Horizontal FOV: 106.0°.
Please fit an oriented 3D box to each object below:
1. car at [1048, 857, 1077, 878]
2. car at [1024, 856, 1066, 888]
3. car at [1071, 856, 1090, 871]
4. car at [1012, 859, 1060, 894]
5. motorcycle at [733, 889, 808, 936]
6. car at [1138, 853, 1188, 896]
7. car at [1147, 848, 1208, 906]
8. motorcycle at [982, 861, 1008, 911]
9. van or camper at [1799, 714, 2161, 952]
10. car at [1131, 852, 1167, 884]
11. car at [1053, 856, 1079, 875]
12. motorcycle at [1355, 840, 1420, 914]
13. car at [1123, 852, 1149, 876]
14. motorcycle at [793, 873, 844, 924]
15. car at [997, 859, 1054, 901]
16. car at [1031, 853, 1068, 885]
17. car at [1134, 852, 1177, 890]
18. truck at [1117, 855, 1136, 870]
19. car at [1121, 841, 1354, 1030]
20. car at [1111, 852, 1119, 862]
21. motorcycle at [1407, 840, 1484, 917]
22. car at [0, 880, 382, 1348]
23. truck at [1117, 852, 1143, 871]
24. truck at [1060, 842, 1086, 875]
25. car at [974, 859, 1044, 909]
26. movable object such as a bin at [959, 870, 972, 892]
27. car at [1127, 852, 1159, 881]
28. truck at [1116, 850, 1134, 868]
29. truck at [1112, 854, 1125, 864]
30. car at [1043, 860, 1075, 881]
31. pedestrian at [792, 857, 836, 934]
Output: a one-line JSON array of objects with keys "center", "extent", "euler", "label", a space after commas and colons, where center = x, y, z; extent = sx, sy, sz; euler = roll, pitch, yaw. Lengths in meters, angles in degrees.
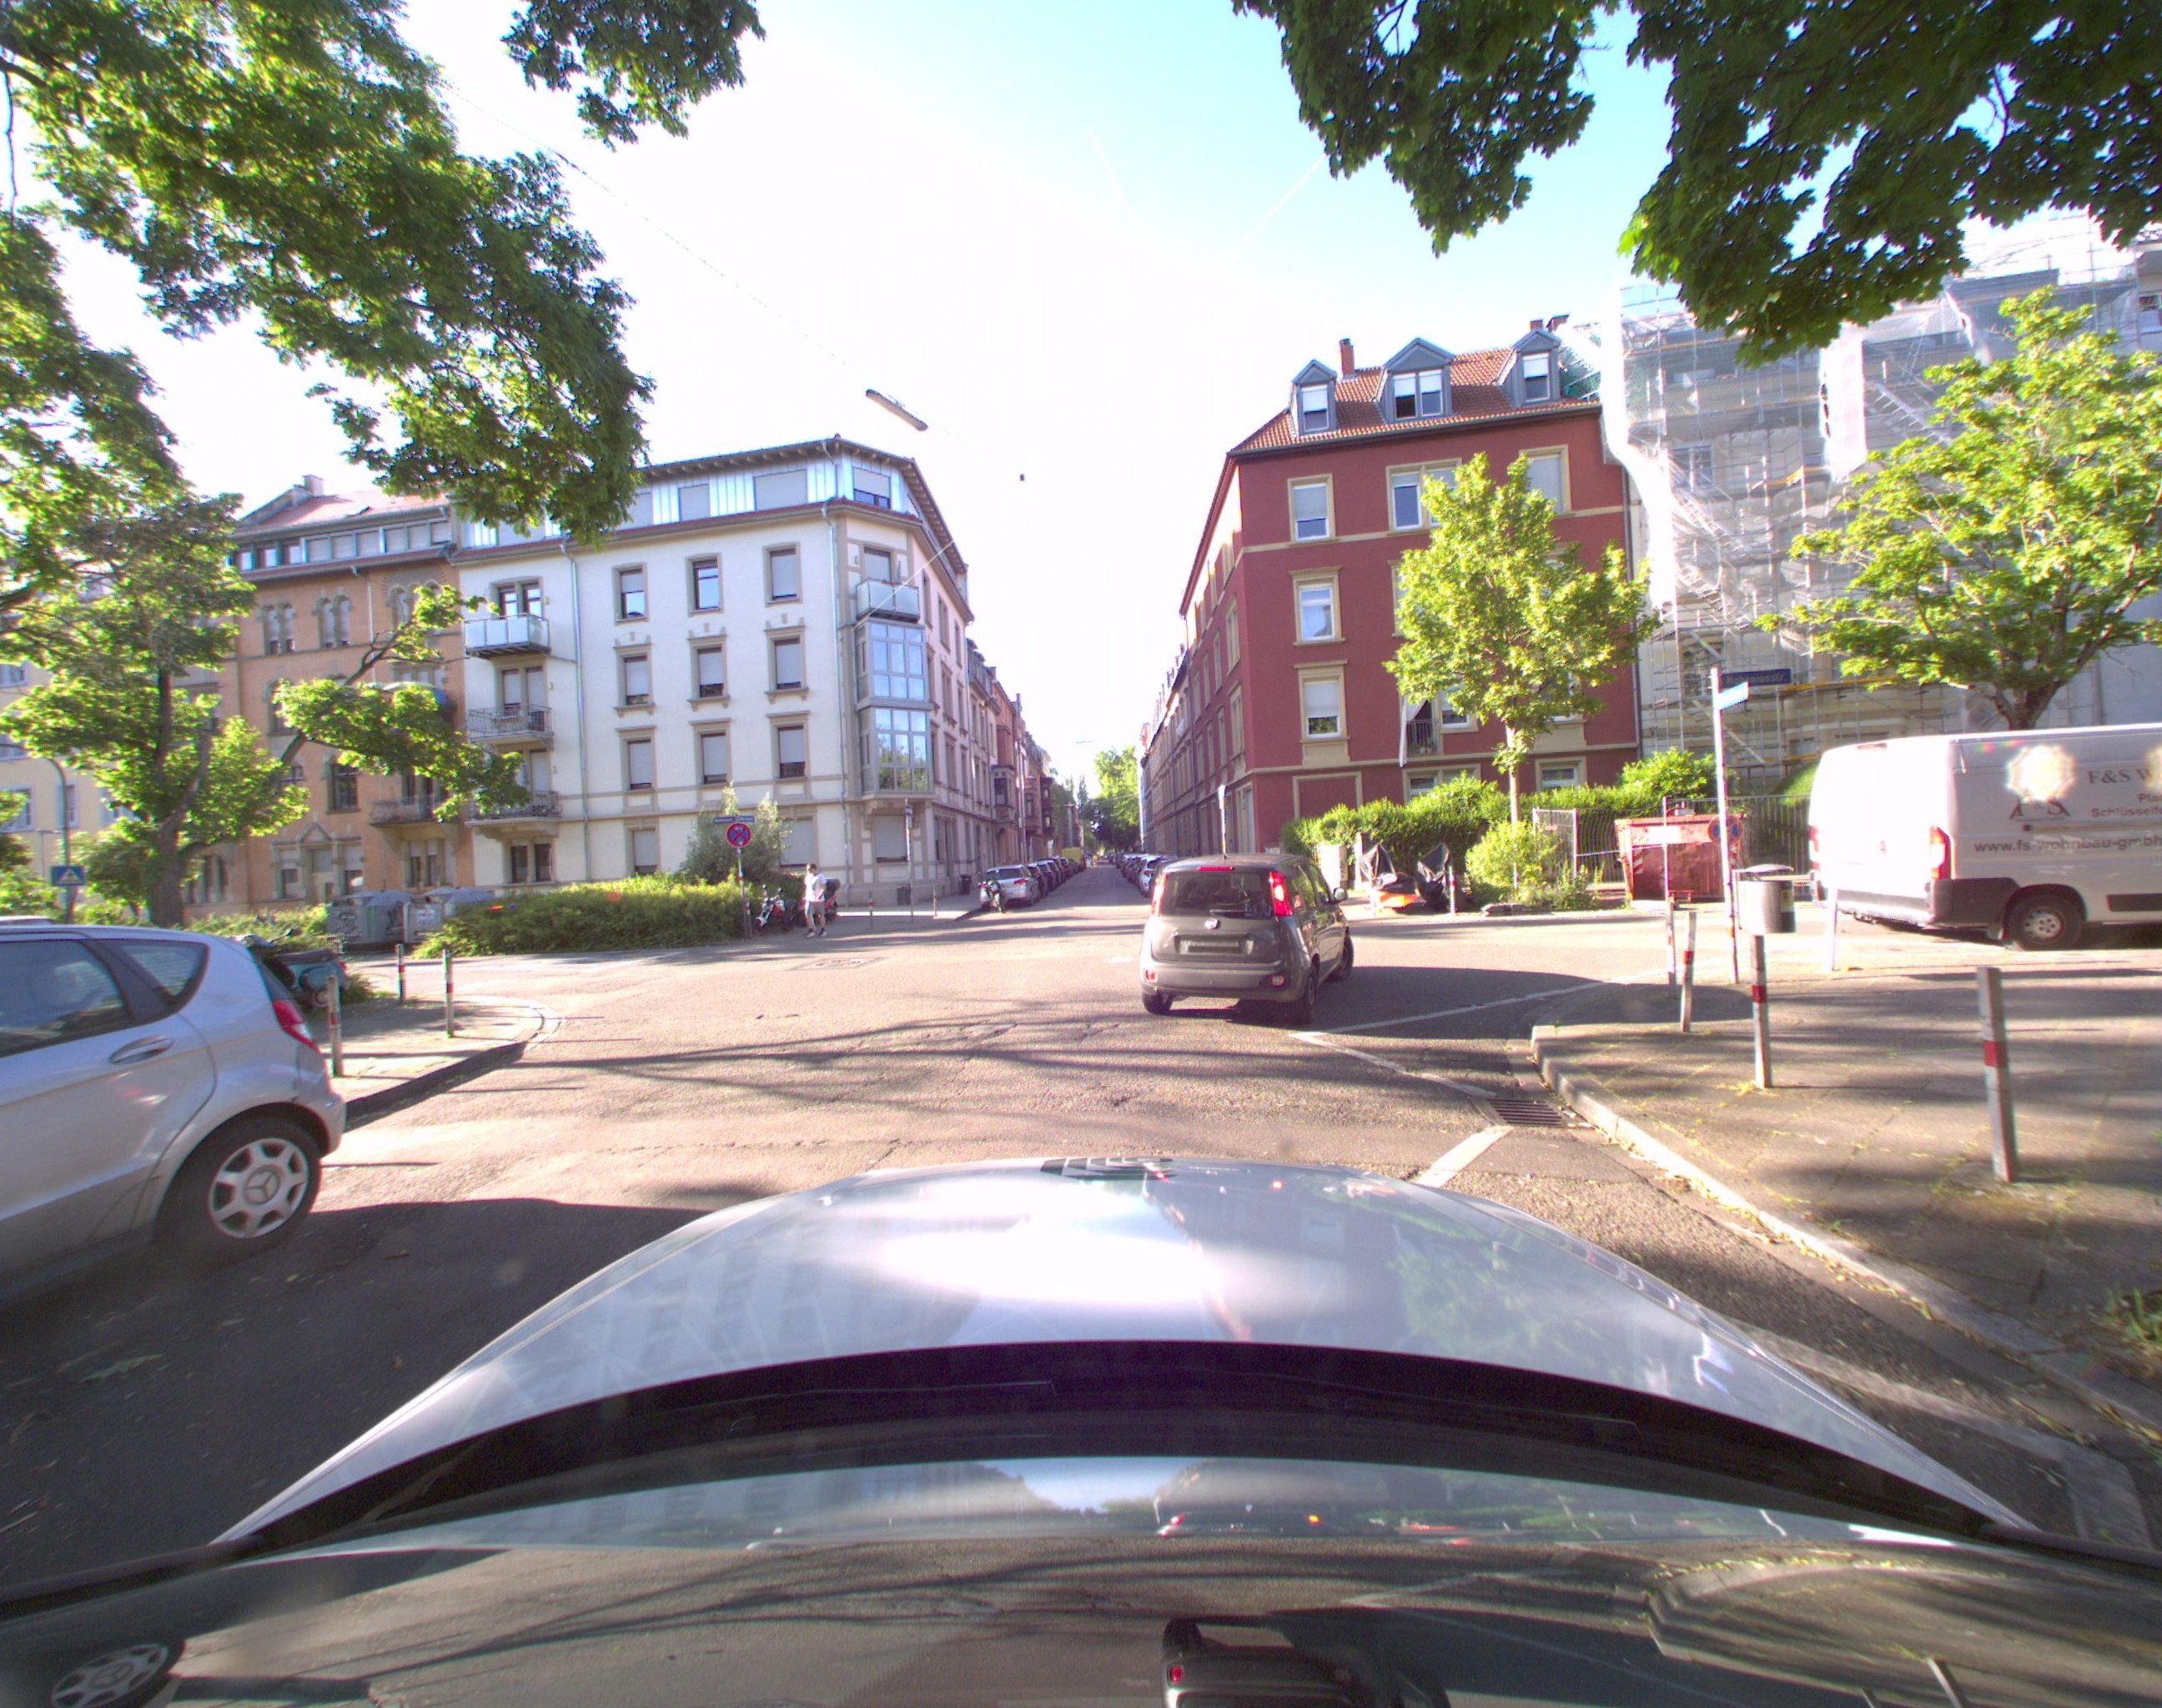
[{"center": [-1.532, 1.063, 67.456], "extent": [1.954, 1.479, 3.927], "euler": [-6, 0, 3], "label": "car"}, {"center": [-1.959, 0.977, 45.352], "extent": [1.821, 1.479, 3.927], "euler": [-6, 0, 3], "label": "car"}, {"center": [-0.029, 1.121, 96.816], "extent": [1.954, 1.479, 3.927], "euler": [-6, 0, 3], "label": "car"}, {"center": [-2.159, 1.070, 40.250], "extent": [1.818, 1.467, 3.927], "euler": [-6, 0, 3], "label": "car"}, {"center": [-7.688, 1.437, 20.238], "extent": [0.683, 0.985, 1.831], "euler": [1, 1, 22], "label": "motorcycle"}, {"center": [3.046, 0.729, 30.868], "extent": [1.656, 1.505, 3.759], "euler": [-2, 0, 3], "label": "car"}, {"center": [3.064, 0.694, 26.371], "extent": [1.656, 1.669, 3.759], "euler": [-2, 0, 3], "label": "car"}, {"center": [-2.719, 0.991, 25.652], "extent": [0.696, 1.460, 1.746], "euler": [-4, 0, -8], "label": "motorcycle"}, {"center": [12.332, -0.333, 9.518], "extent": [5.552, 2.445, 2.152], "euler": [-3, 2, 11], "label": "van or camper"}, {"center": [3.464, 0.682, 41.867], "extent": [1.656, 1.505, 3.759], "euler": [-2, 0, 3], "label": "car"}, {"center": [-1.366, 1.060, 74.467], "extent": [1.954, 1.479, 3.927], "euler": [-6, 0, 3], "label": "car"}, {"center": [6.630, 0.453, 17.764], "extent": [1.012, 1.404, 2.201], "euler": [-3, 2, 14], "label": "motorcycle"}, {"center": [3.702, 0.657, 55.548], "extent": [1.656, 1.505, 3.759], "euler": [-2, 0, 3], "label": "car"}, {"center": [-7.263, 1.221, 22.585], "extent": [0.514, 1.294, 1.619], "euler": [-2, 0, 16], "label": "motorcycle"}, {"center": [-2.248, 1.033, 34.031], "extent": [1.770, 1.413, 3.927], "euler": [-6, 0, 3], "label": "car"}, {"center": [-1.936, 0.910, 50.512], "extent": [1.768, 1.698, 3.927], "euler": [-6, 0, 3], "label": "car"}, {"center": [3.183, 0.696, 35.466], "extent": [1.656, 1.505, 3.759], "euler": [-2, 0, 3], "label": "car"}, {"center": [4.998, 0.916, 89.765], "extent": [1.986, 1.456, 4.002], "euler": [-3, 0, 2], "label": "truck"}, {"center": [1.815, 0.664, 8.590], "extent": [1.618, 1.550, 3.283], "euler": [-1, 1, 25], "label": "car"}, {"center": [6.321, 0.547, 150.358], "extent": [1.362, 1.618, 3.416], "euler": [-3, 0, 3], "label": "car"}, {"center": [7.591, 0.454, 17.094], "extent": [0.821, 1.404, 2.564], "euler": [-3, 1, 10], "label": "motorcycle"}, {"center": [-4.589, 0.994, 2.272], "extent": [1.691, 1.550, 3.920], "euler": [-6, 0, 1], "label": "car"}, {"center": [4.133, 0.623, 68.824], "extent": [1.986, 1.456, 4.002], "euler": [-3, 0, 2], "label": "truck"}, {"center": [-0.761, 0.427, 81.562], "extent": [2.062, 2.925, 5.071], "euler": [-7, 0, 3], "label": "truck"}, {"center": [-2.471, 1.014, 28.946], "extent": [1.790, 1.431, 3.927], "euler": [-6, 0, 3], "label": "car"}, {"center": [-5.227, 1.221, 36.897], "extent": [0.510, 0.952, 0.501], "euler": [-3, 0, -1], "label": "movable object such as a bin"}, {"center": [3.489, 0.667, 46.460], "extent": [1.656, 1.532, 3.759], "euler": [-2, 0, 3], "label": "car"}, {"center": [5.112, 0.610, 95.148], "extent": [1.986, 1.992, 4.002], "euler": [-3, 0, 2], "label": "truck"}, {"center": [5.924, 0.724, 129.345], "extent": [1.986, 1.456, 4.002], "euler": [-3, 0, 2], "label": "truck"}, {"center": [-1.594, 1.168, 59.799], "extent": [1.954, 1.224, 3.927], "euler": [-6, 0, 3], "label": "car"}, {"center": [-6.496, 0.998, 19.818], "extent": [0.718, 1.839, 0.629], "euler": [-2, 0, 13], "label": "pedestrian"}]
